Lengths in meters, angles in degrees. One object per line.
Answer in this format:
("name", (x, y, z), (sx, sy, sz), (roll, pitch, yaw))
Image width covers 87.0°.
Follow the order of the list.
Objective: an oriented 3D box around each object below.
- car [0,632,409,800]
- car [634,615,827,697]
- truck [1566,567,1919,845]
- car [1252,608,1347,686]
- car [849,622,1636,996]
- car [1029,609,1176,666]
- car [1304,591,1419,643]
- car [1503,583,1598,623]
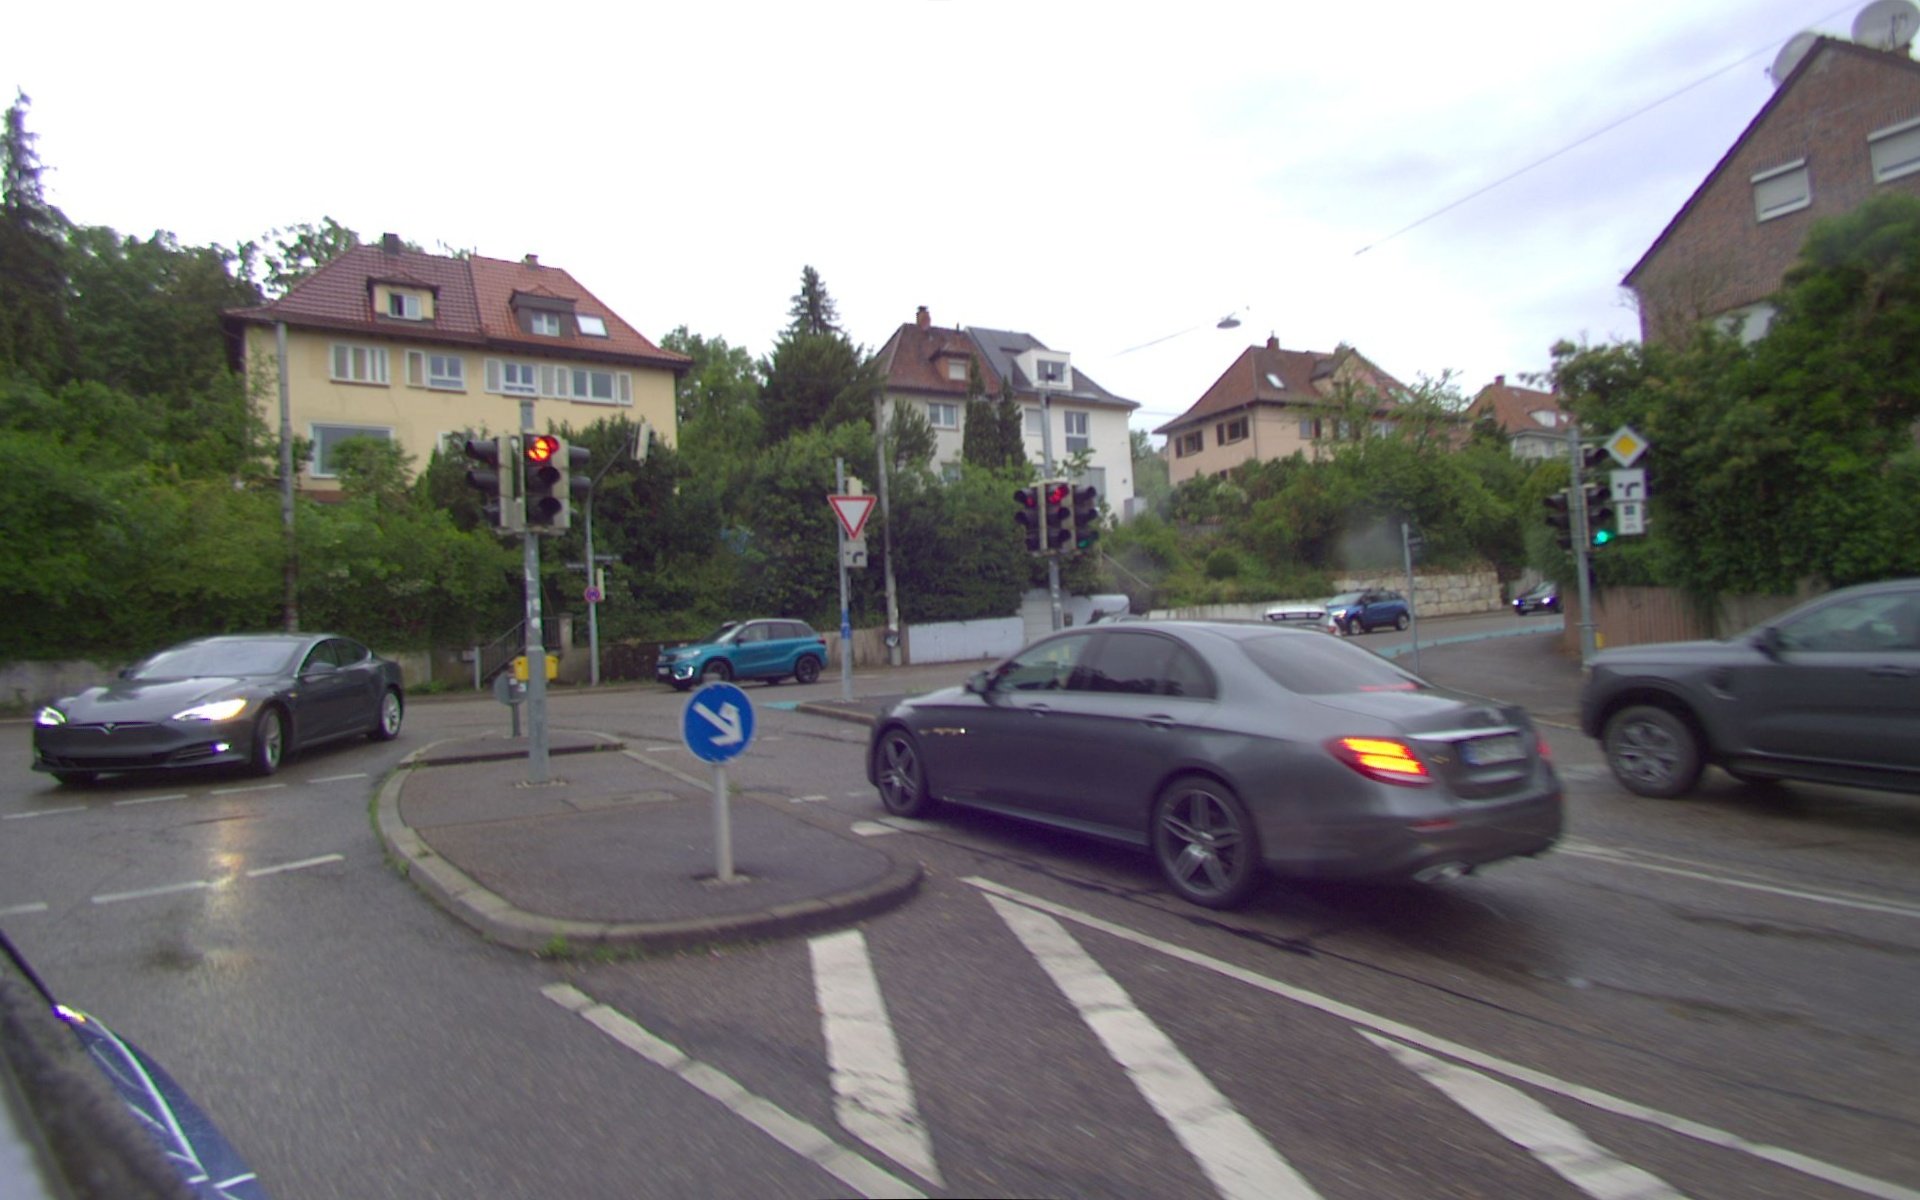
("car", (-7.955, 1.098, 11.164), (1.808, 1.402, 4.330), (0, -1, -7))
("car", (-5.332, 1.298, 23.764), (3.979, 1.622, 1.804), (-2, -4, -41))
("truck", (7.381, 0.730, 7.006), (1.856, 1.862, 5.297), (2, -2, -27))
("car", (7.155, 0.939, 21.546), (1.698, 1.478, 4.236), (-2, -1, 17))
("car", (1.256, 0.872, 6.332), (1.834, 1.406, 4.607), (2, -2, -36))
("car", (4.274, 1.109, 30.260), (3.972, 1.471, 1.765), (-2, -2, -26))
("car", (14.546, 0.622, 36.646), (3.973, 1.662, 1.764), (-2, -2, -32))
("car", (24.938, 0.124, 42.685), (3.973, 1.471, 1.764), (-2, -2, -33))
